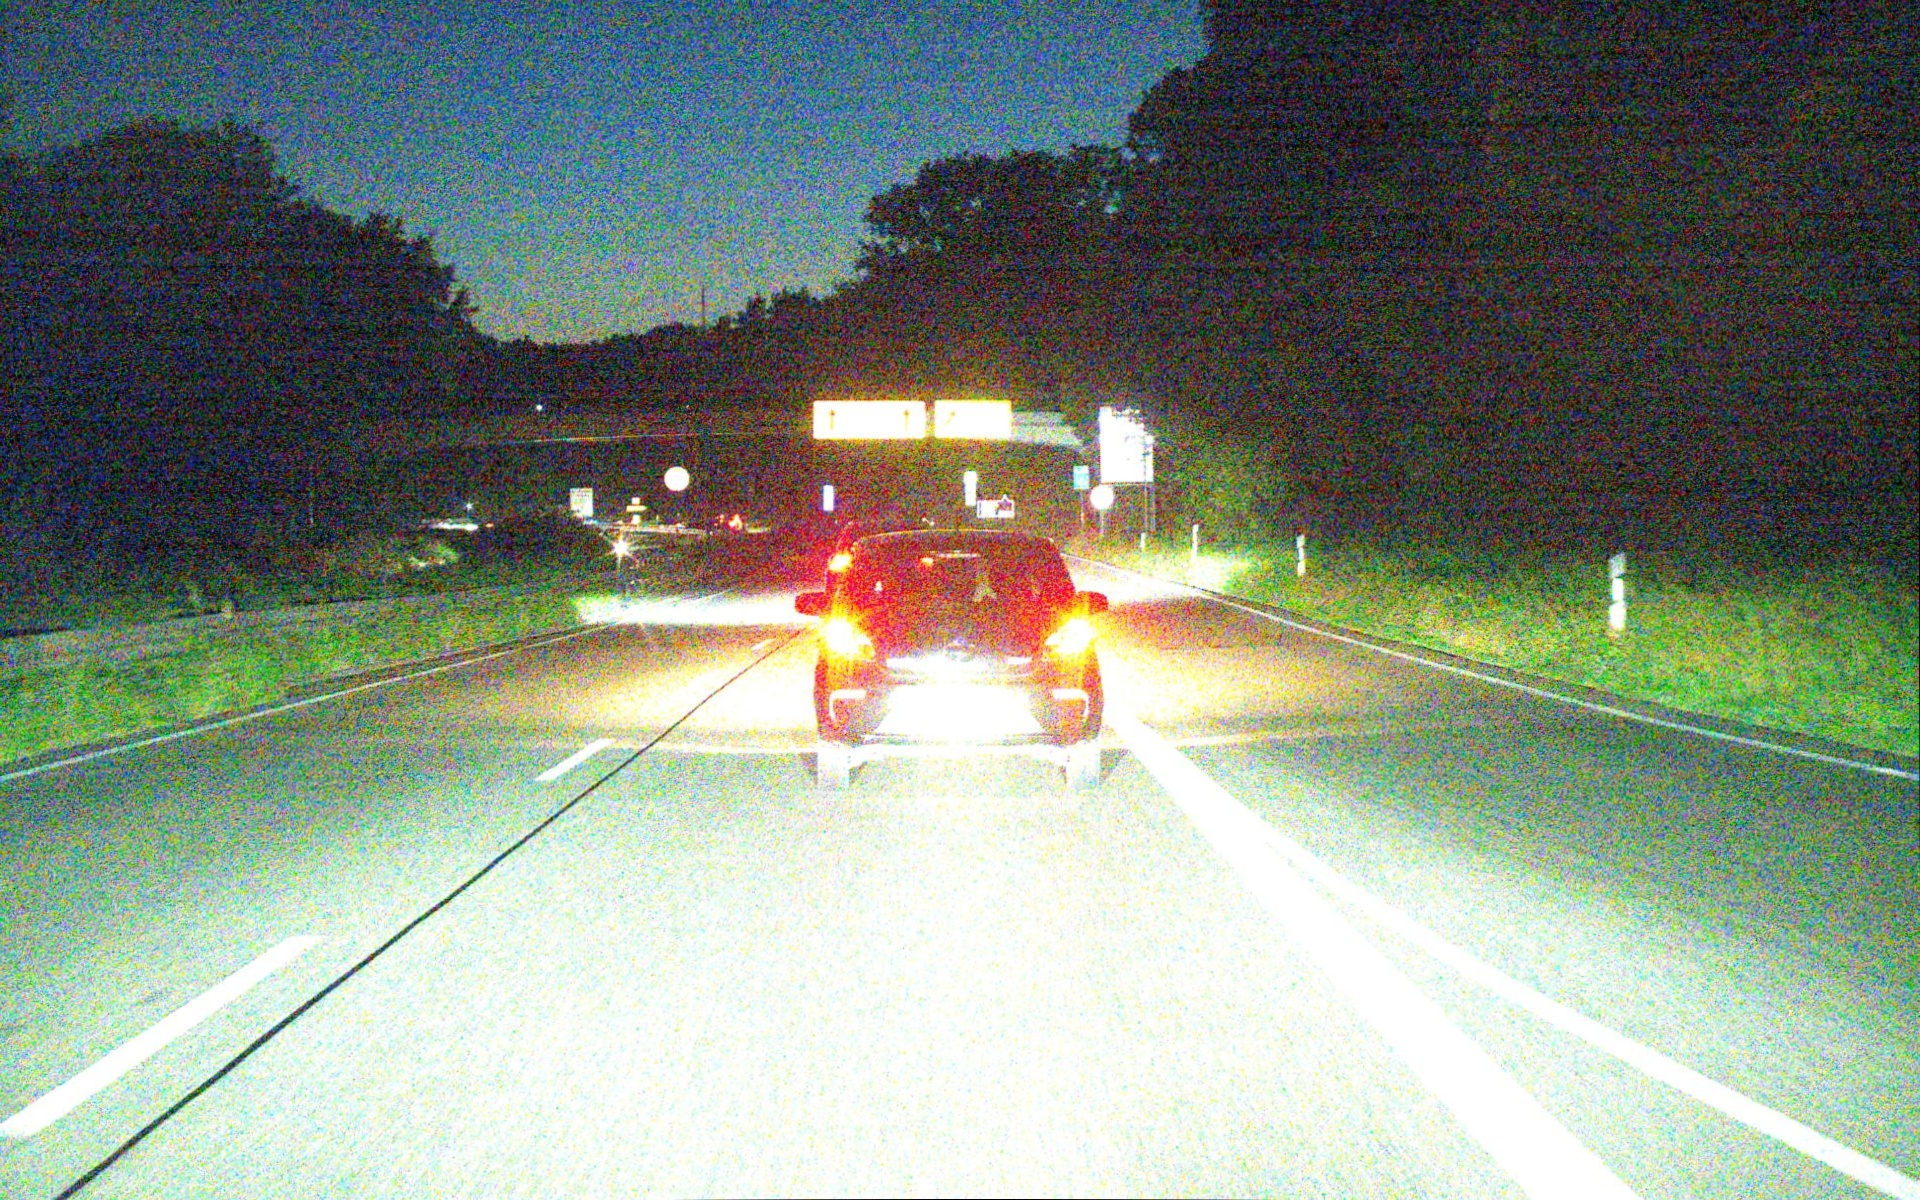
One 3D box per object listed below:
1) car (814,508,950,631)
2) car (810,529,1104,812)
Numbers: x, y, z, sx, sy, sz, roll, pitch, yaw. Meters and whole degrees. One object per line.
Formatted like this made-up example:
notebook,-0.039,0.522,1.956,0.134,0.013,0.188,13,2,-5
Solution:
car,-1.125,-0.484,50.447,1.906,1.692,4.001,0,2,-1
car,-0.082,0.342,20.589,1.588,1.503,4.001,0,1,-2
